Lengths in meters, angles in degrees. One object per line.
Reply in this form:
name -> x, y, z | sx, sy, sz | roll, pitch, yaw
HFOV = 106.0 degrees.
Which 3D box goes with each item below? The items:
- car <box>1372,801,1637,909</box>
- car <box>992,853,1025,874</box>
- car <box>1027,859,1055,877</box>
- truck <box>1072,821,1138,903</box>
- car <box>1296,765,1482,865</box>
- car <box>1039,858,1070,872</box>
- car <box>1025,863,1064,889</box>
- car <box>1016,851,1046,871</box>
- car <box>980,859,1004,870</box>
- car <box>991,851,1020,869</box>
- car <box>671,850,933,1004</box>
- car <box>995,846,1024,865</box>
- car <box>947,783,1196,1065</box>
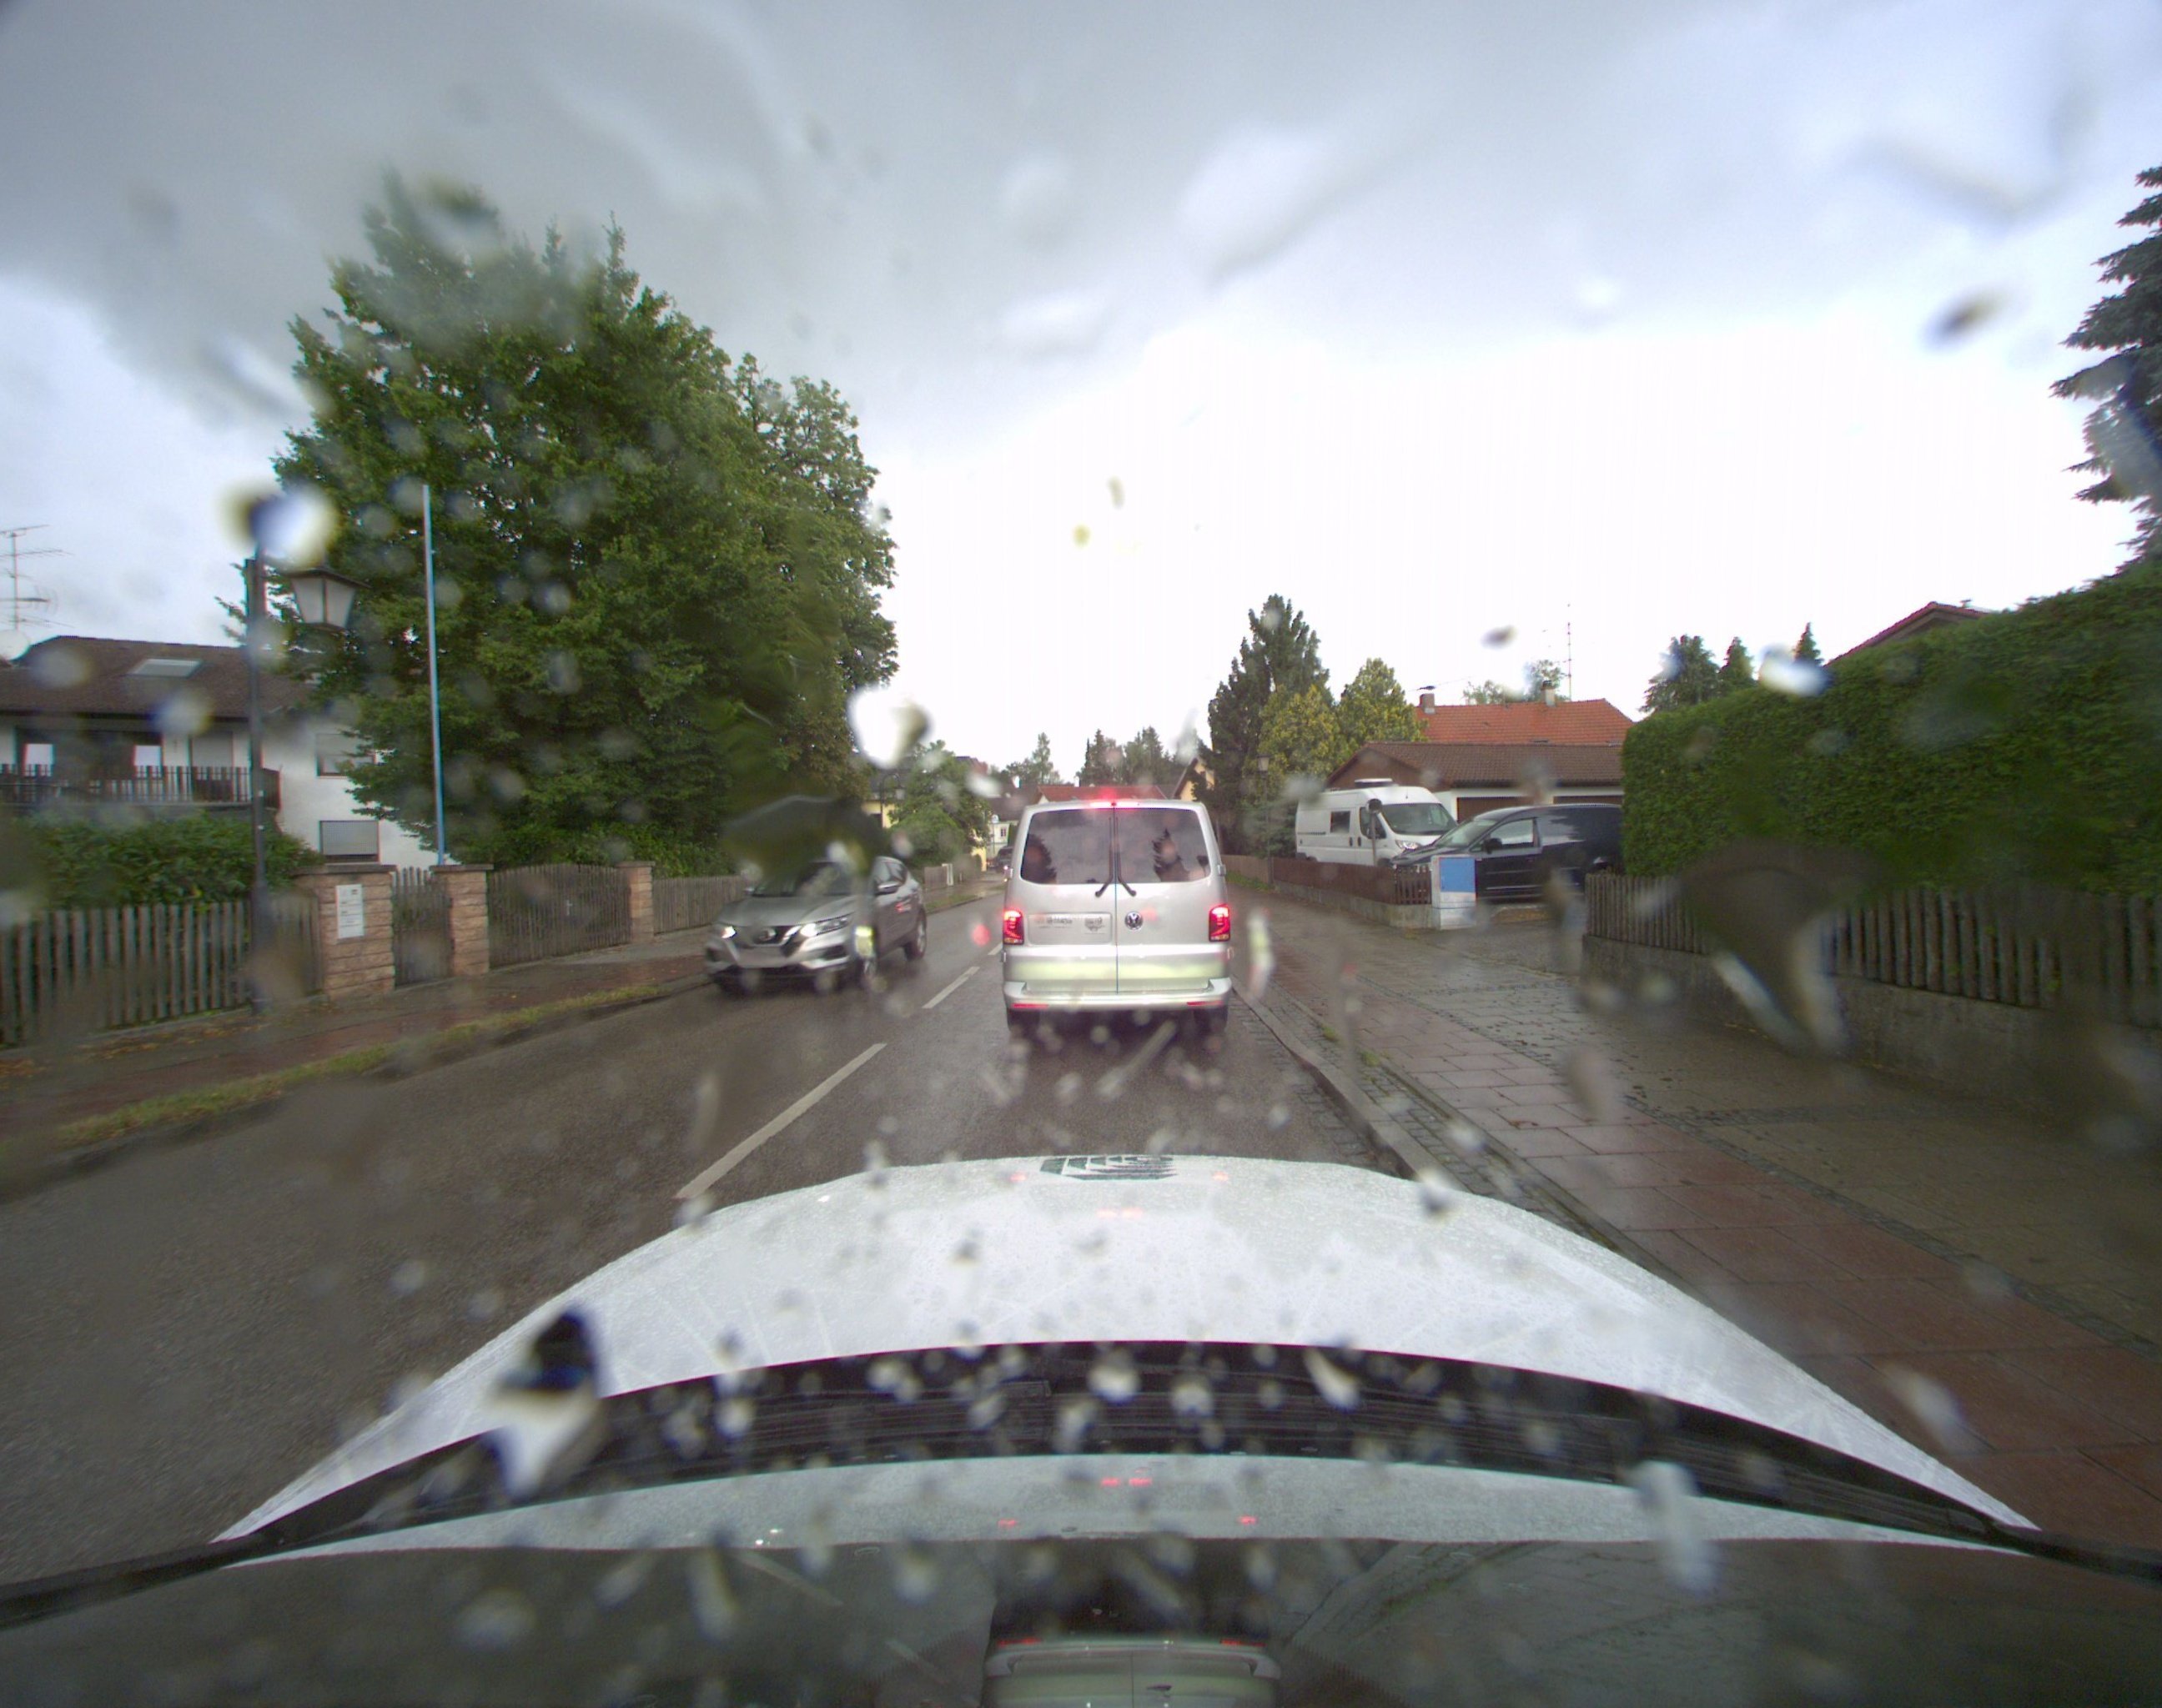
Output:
car -> 7.760, -0.018, 15.162 | 4.082, 1.751, 1.693 | -2, 2, -2
car -> -7.146, 0.900, 79.748 | 2.003, 2.014, 3.967 | 1, -1, -25
car -> -2.959, 1.028, 60.516 | 1.773, 1.310, 3.777 | 0, -1, 2
truck -> 0.998, 0.356, 33.688 | 2.466, 3.074, 6.297 | 0, -1, 1
car -> 7.392, -0.807, 20.207 | 1.995, 2.174, 4.933 | 0, -1, -11
car -> -2.531, 1.034, 76.737 | 1.786, 1.310, 3.750 | 0, -1, -20
car -> -1.902, 1.154, 43.317 | 1.773, 1.310, 3.777 | 0, -1, 2
car -> -5.166, 0.769, 83.633 | 2.001, 2.014, 3.970 | 1, -1, -22
car -> -10.926, 1.321, 99.830 | 1.789, 1.310, 3.743 | 1, -1, -26
car -> -8.228, 0.706, 88.841 | 2.003, 1.927, 3.968 | 1, -1, -24
car -> -3.312, 0.801, 10.641 | 1.820, 1.558, 4.178 | -2, -1, 2
car -> -7.849, 0.180, 89.071 | 2.002, 2.014, 3.970 | 1, -1, -22
car -> 0.079, 0.526, 7.867 | 1.792, 2.014, 4.004 | 0, -1, 4
